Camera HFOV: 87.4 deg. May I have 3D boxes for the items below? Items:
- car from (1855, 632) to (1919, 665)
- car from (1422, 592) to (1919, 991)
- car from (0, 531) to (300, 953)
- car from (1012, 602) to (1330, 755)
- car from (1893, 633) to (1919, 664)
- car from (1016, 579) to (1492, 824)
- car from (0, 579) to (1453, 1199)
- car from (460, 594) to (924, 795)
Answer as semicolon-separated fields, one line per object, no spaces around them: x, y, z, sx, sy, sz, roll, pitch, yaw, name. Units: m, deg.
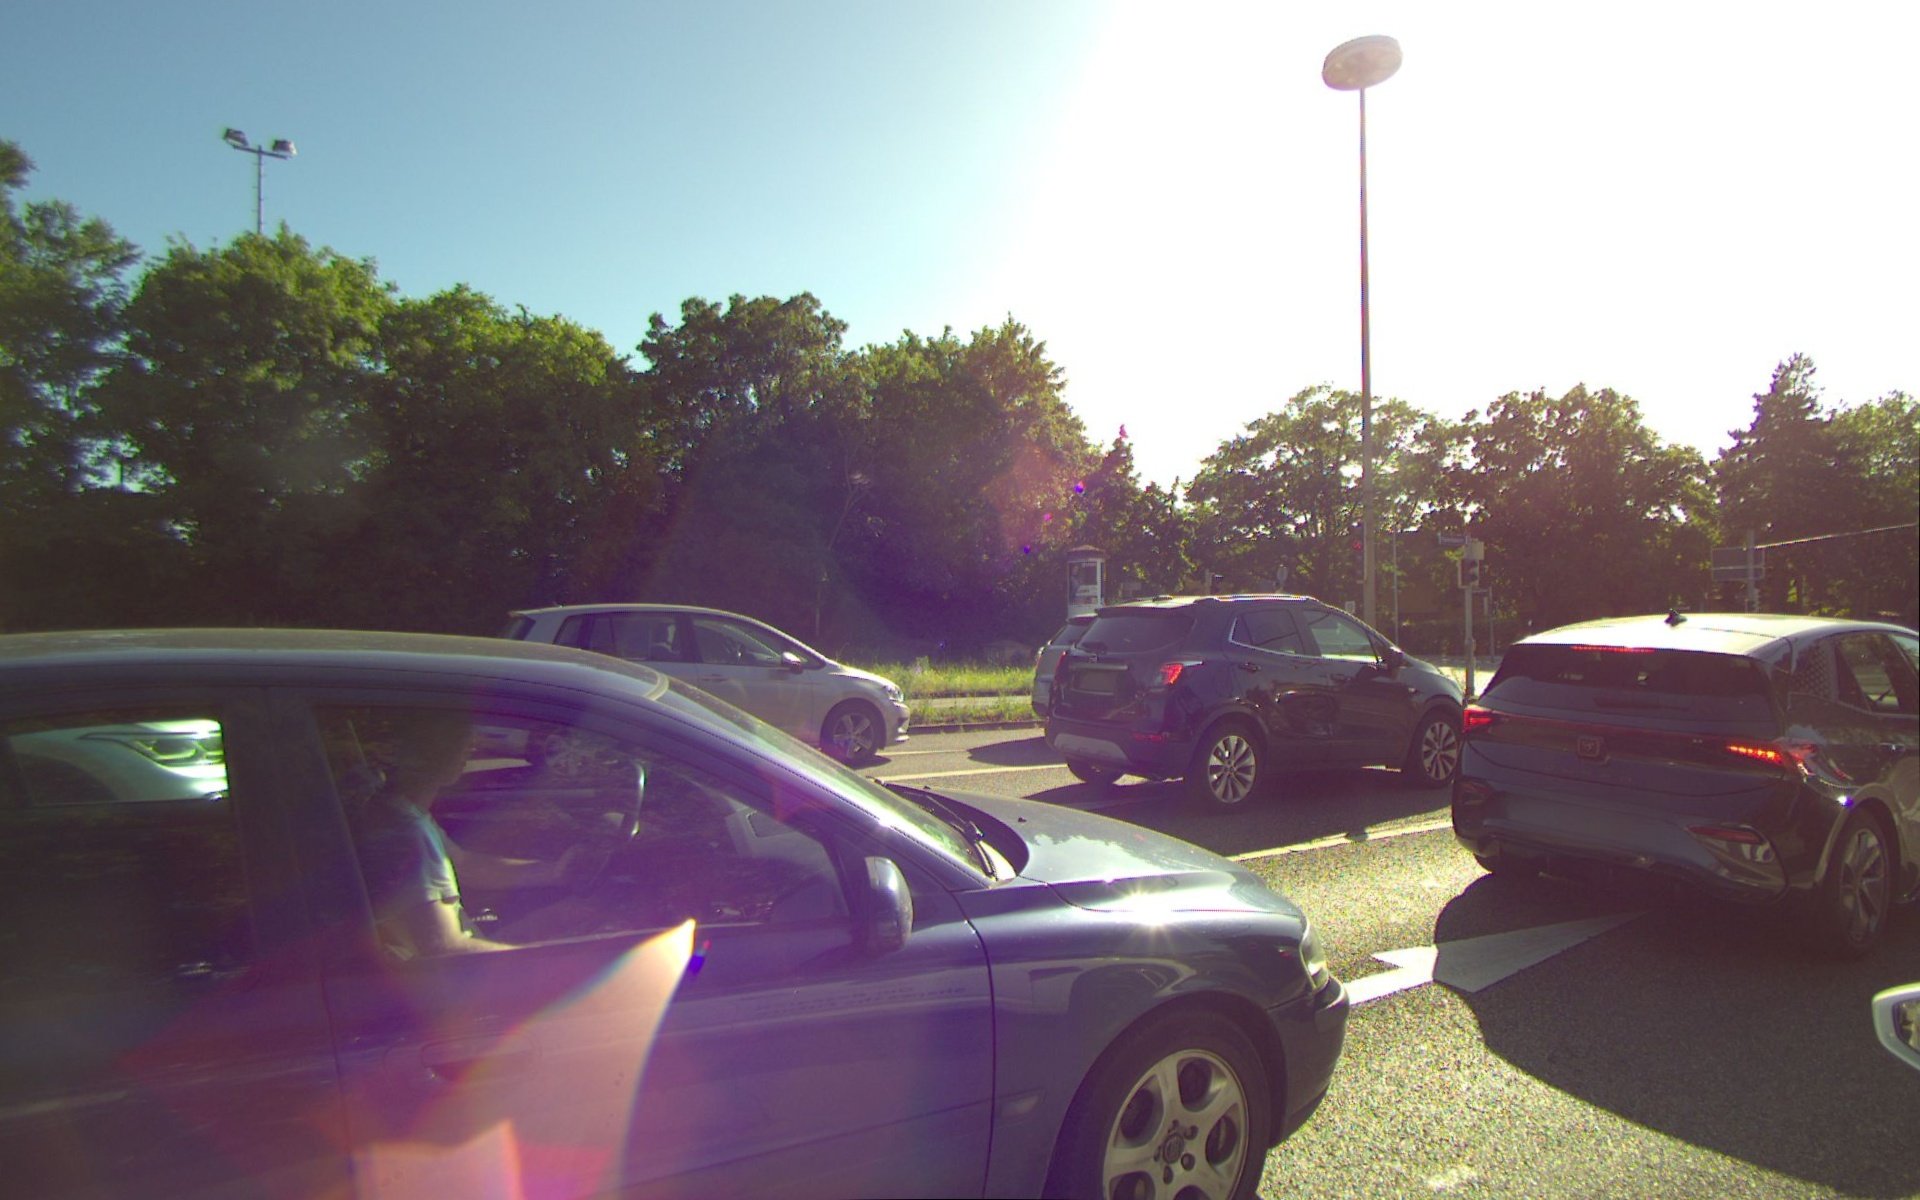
44.748;2.295;48.095;3.956;1.529;1.678;1;-2;-30;car
4.741;0.824;5.820;4.158;1.601;1.676;2;-1;-30;car
-5.554;0.587;4.332;4.373;1.732;1.984;1;-2;-30;car
2.812;0.949;13.186;3.956;1.724;1.820;1;-2;-32;car
49.970;2.482;51.828;3.959;1.529;1.677;1;-2;-32;car
2.621;0.766;8.798;3.953;1.711;1.796;1;-2;-30;car
-1.095;0.722;2.205;4.404;1.471;1.767;2;0;-30;car
-2.612;0.831;10.009;4.156;1.632;1.822;1;-2;-30;car
